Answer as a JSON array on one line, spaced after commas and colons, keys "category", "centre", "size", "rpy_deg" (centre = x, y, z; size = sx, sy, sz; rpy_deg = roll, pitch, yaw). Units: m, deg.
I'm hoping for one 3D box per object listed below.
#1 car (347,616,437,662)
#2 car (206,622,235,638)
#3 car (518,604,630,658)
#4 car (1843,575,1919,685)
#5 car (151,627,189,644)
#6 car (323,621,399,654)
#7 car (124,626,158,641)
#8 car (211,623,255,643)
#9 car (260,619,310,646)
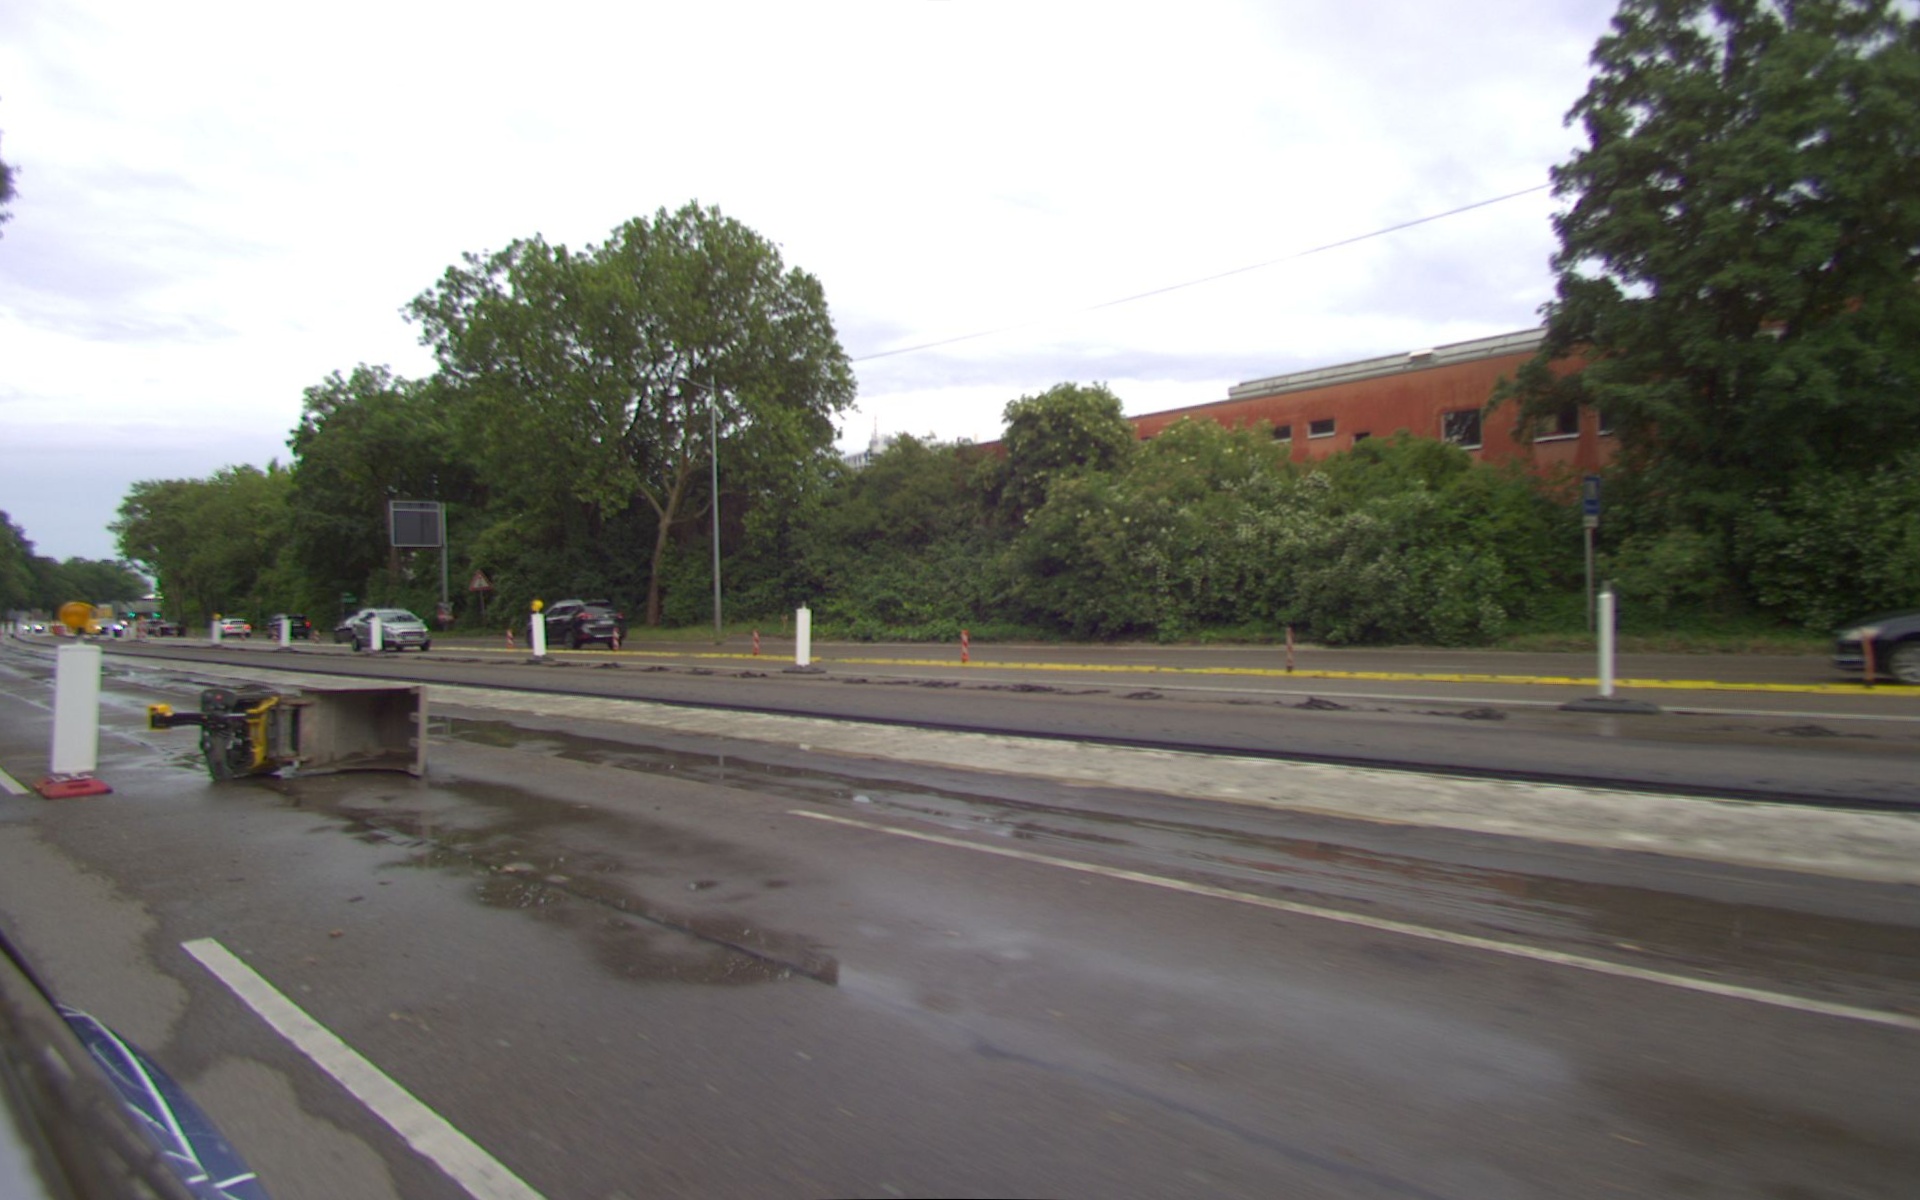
[{"category": "car", "centre": [-21.251, 1.422, 37.823], "size": [3.860, 1.596, 1.770], "rpy_deg": [-2, 0, 42]}, {"category": "car", "centre": [-76.183, 3.111, 104.264], "size": [4.158, 1.553, 1.648], "rpy_deg": [-2, -3, 43]}, {"category": "car", "centre": [-13.448, 1.054, 35.146], "size": [4.491, 1.735, 1.717], "rpy_deg": [-1, 0, 41]}, {"category": "car", "centre": [13.138, 0.328, 12.052], "size": [3.856, 1.342, 1.434], "rpy_deg": [-2, 0, 39]}, {"category": "car", "centre": [-66.945, 2.996, 85.769], "size": [4.203, 1.366, 1.799], "rpy_deg": [-2, -2, 41]}, {"category": "car", "centre": [-29.456, 1.803, 49.734], "size": [4.897, 1.495, 1.742], "rpy_deg": [-2, -1, 41]}, {"category": "car", "centre": [-77.774, 3.207, 96.101], "size": [4.388, 1.366, 1.799], "rpy_deg": [-2, -2, 41]}, {"category": "car", "centre": [-57.539, 2.623, 80.064], "size": [4.601, 1.430, 1.799], "rpy_deg": [-2, 0, 41]}, {"category": "car", "centre": [-45.424, 2.192, 68.055], "size": [4.531, 1.698, 1.636], "rpy_deg": [-2, 0, 41]}]
